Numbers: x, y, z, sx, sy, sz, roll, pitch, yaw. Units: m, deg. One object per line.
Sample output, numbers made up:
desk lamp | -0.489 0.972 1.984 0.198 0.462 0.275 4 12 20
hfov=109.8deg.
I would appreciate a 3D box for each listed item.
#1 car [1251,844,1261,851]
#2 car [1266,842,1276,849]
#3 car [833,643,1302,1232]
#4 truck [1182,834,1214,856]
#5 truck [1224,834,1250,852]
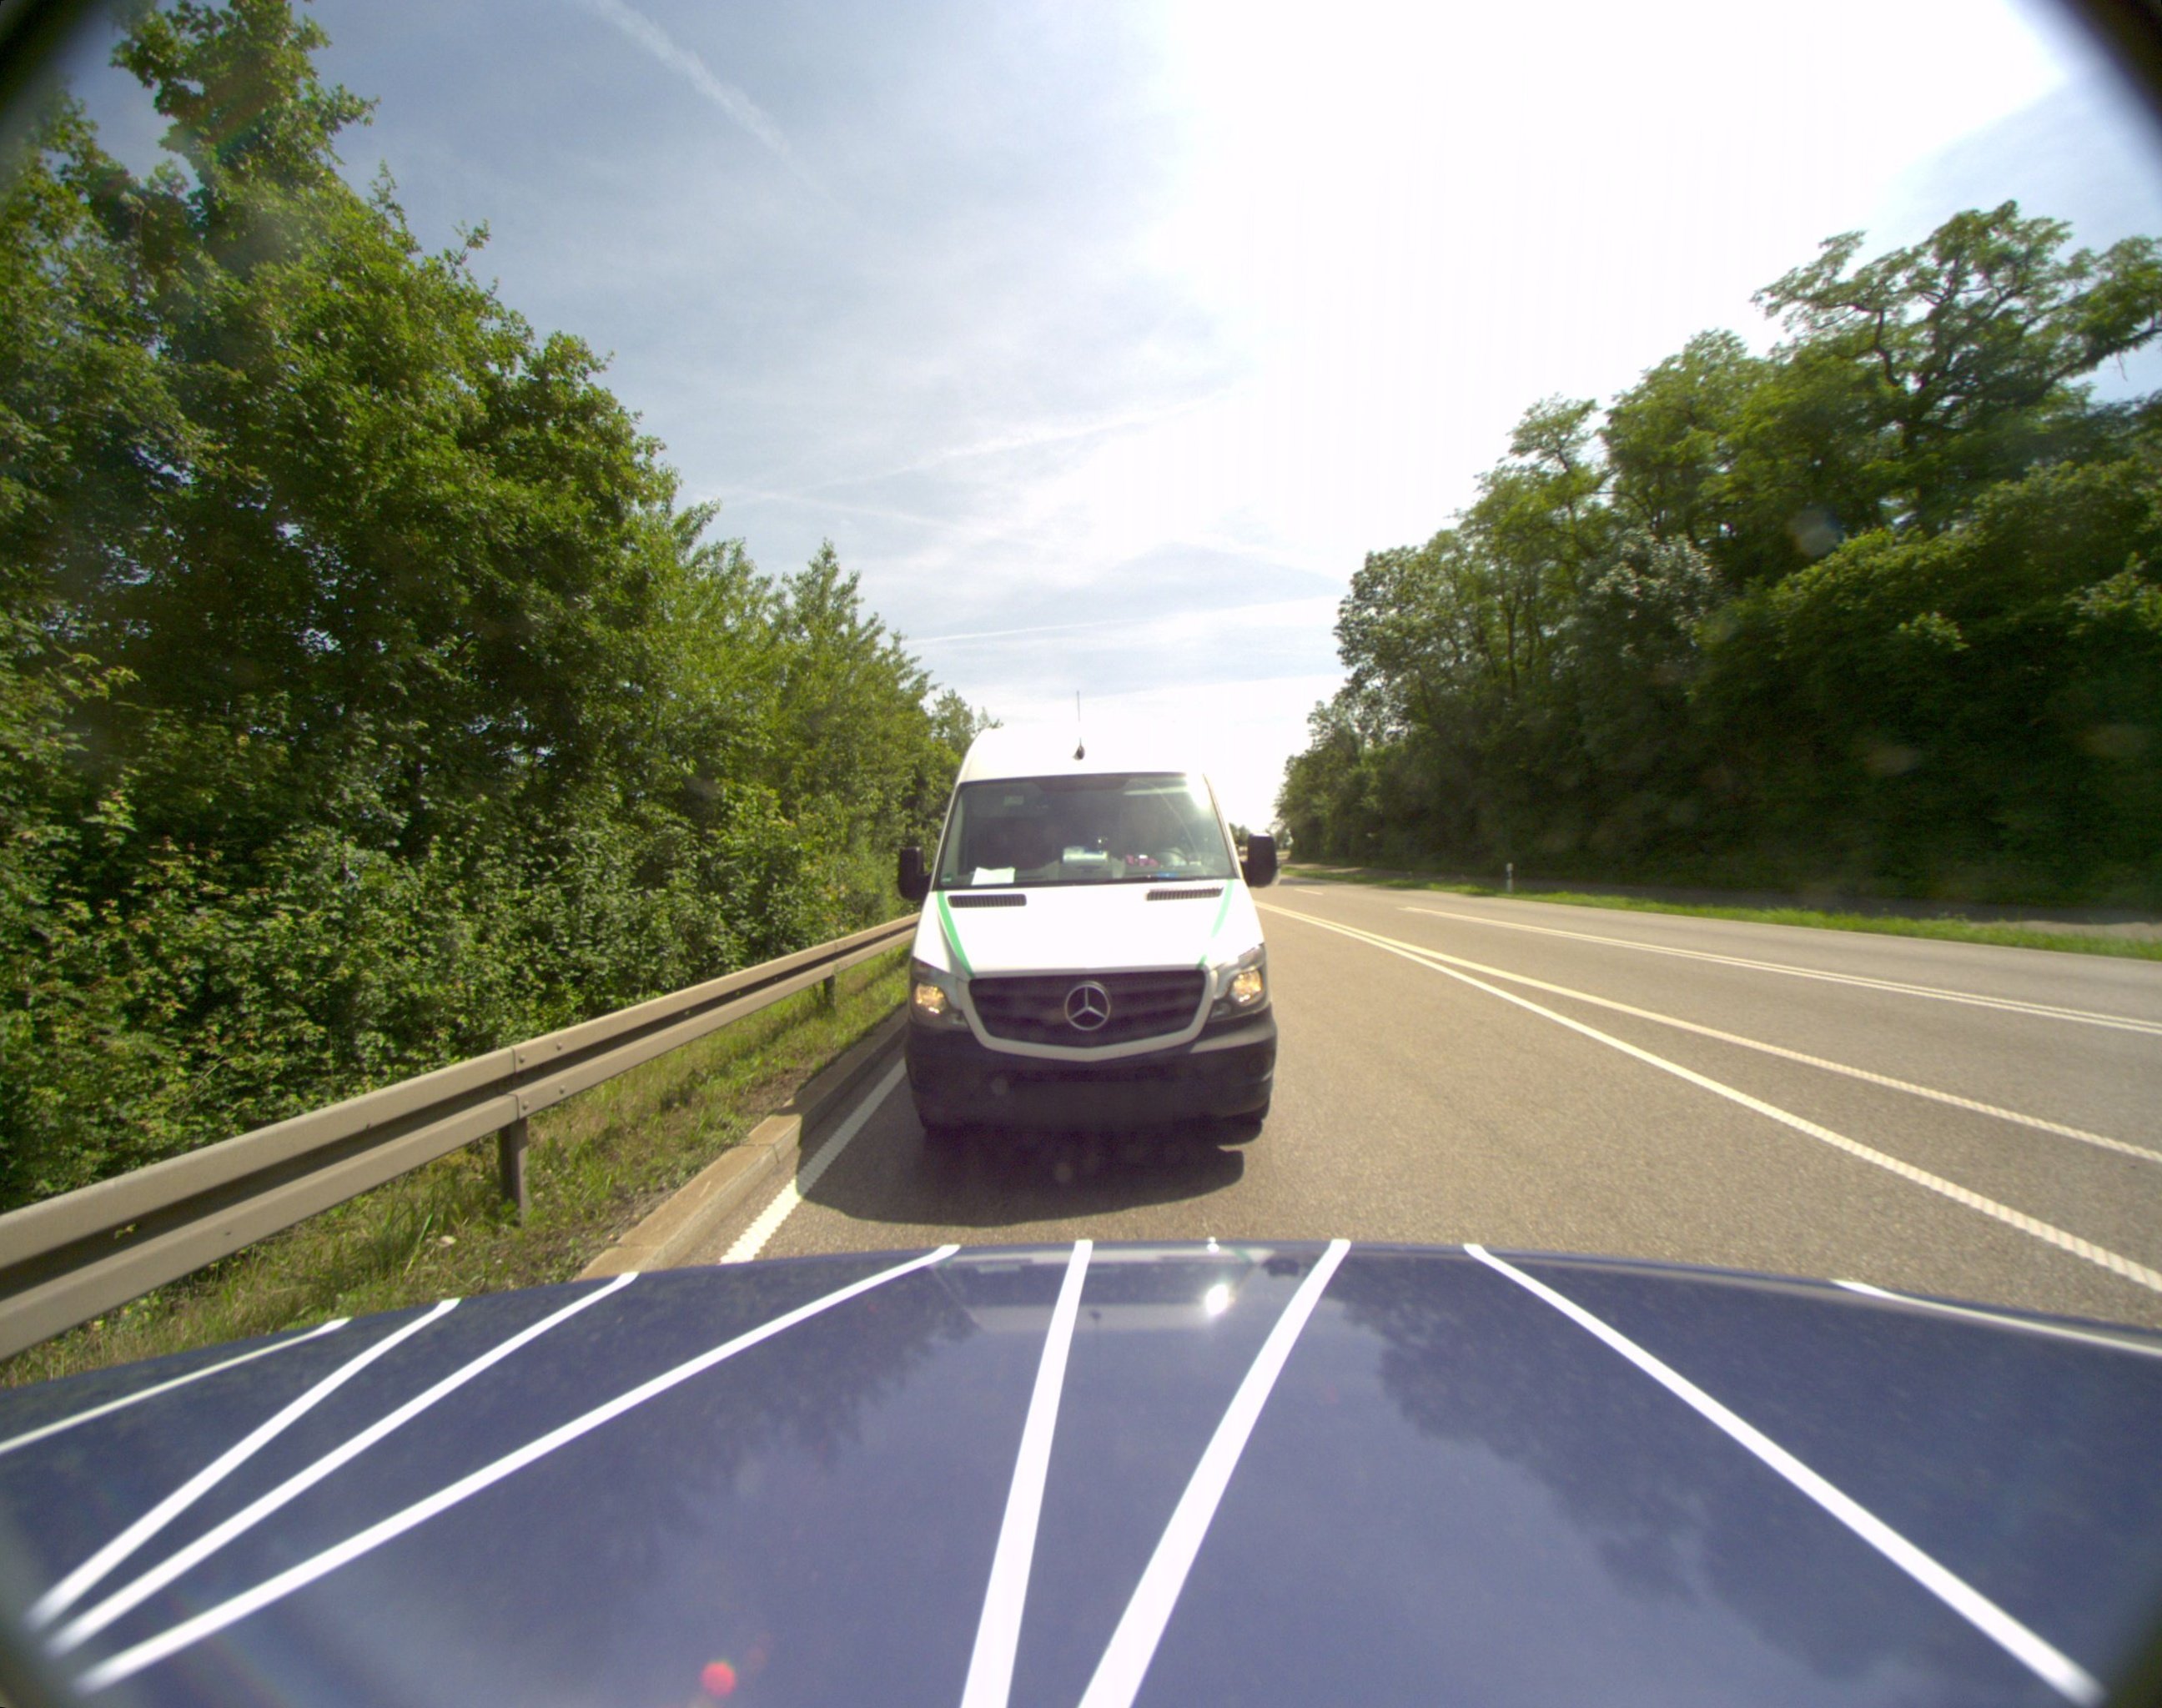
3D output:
car | 52.143 -1.965 226.384 1.914 2.002 4.182 -1 1 27
car | 60.480 -2.644 241.940 1.853 2.002 3.894 -1 1 29
car | 0.022 0.379 5.930 1.958 2.502 5.267 -2 0 2
truck | 25.188 -1.921 162.987 4.392 4.433 14.730 -2 0 18
truck | 42.546 -3.028 206.459 3.980 4.433 14.362 -2 0 23
